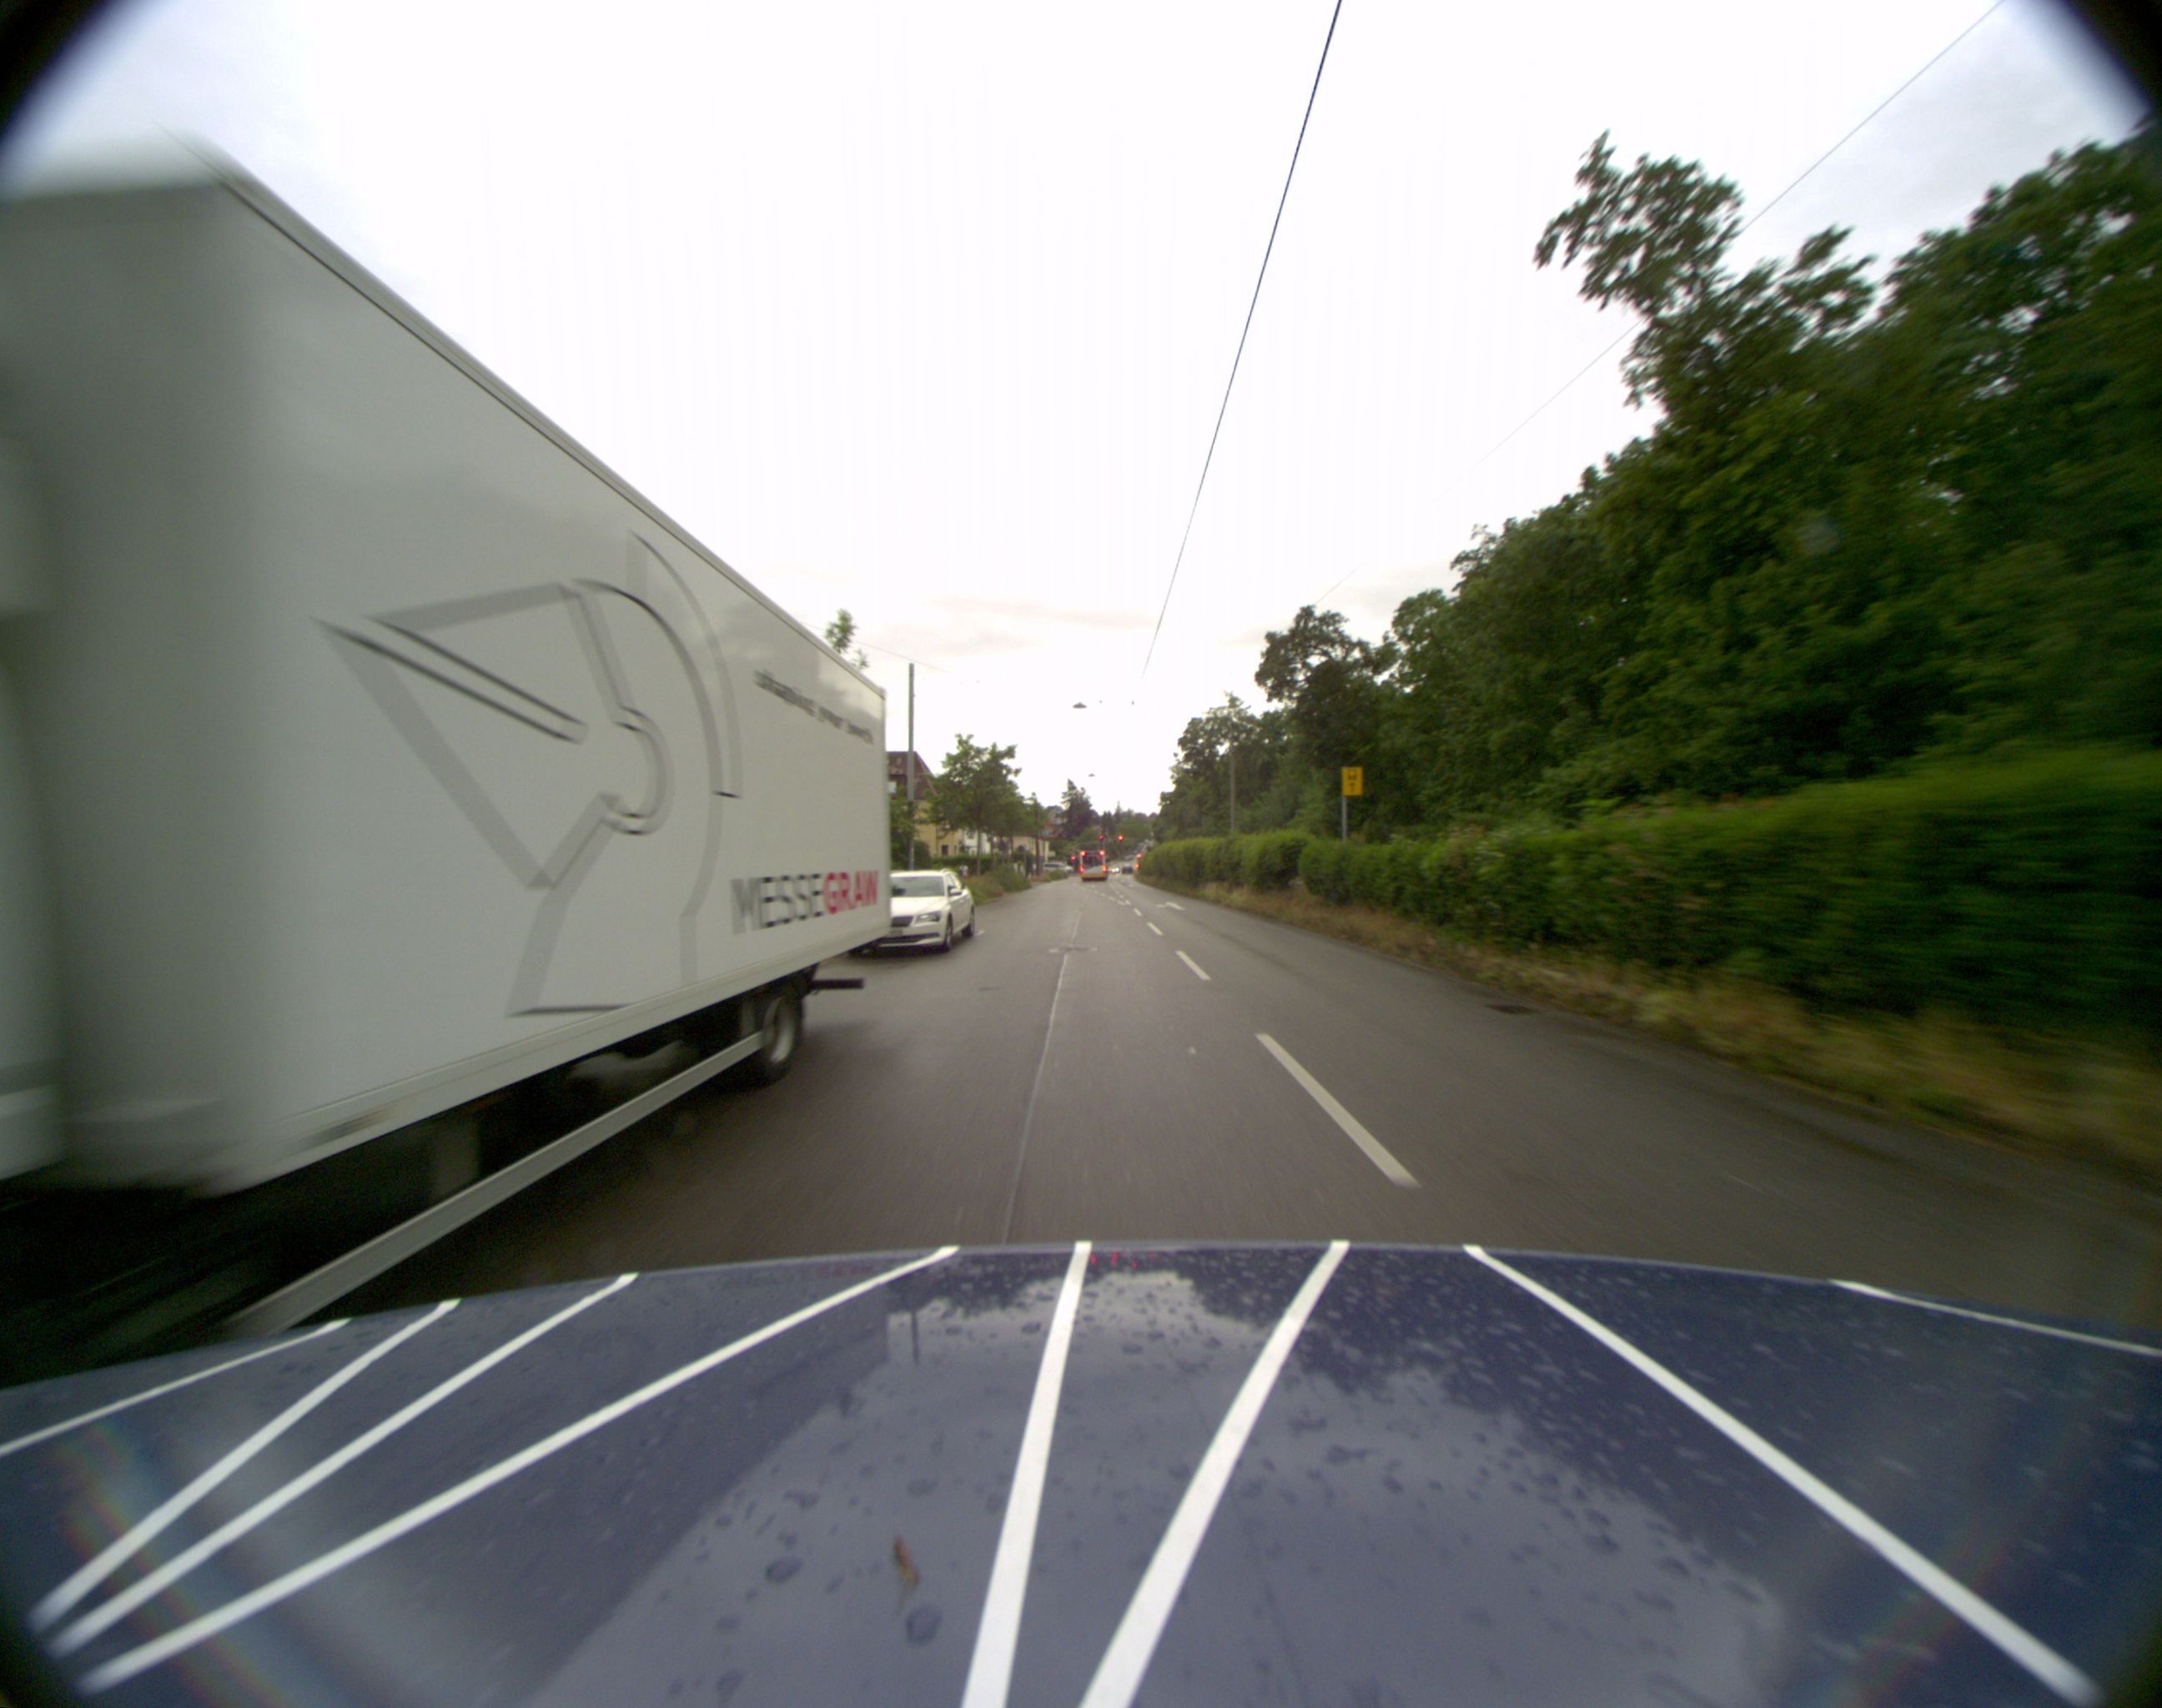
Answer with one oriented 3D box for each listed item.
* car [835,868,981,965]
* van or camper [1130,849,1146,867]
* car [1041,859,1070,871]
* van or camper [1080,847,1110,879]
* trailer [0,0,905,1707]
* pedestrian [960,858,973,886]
[{"bbox_3d":[-3.169,1.079,14.896,1.800,1.465,4.548,-2,0,0],"label":"car"},{"bbox_3d":[11.192,0.767,148.909,2.736,3.207,6.979,-2,0,6],"label":"van or camper"},{"bbox_3d":[-4.708,2.007,141.654,5.049,1.967,2.001,-2,0,5],"label":"car"},{"bbox_3d":[1.537,0.912,79.485,2.862,3.160,6.851,-2,0,3],"label":"van or camper"},{"bbox_3d":[-3.346,-0.011,3.964,2.741,3.487,8.247,-2,0,0],"label":"trailer"},{"bbox_3d":[-7.145,1.114,47.530,0.635,1.722,0.714,-1,2,2],"label":"pedestrian"}]
